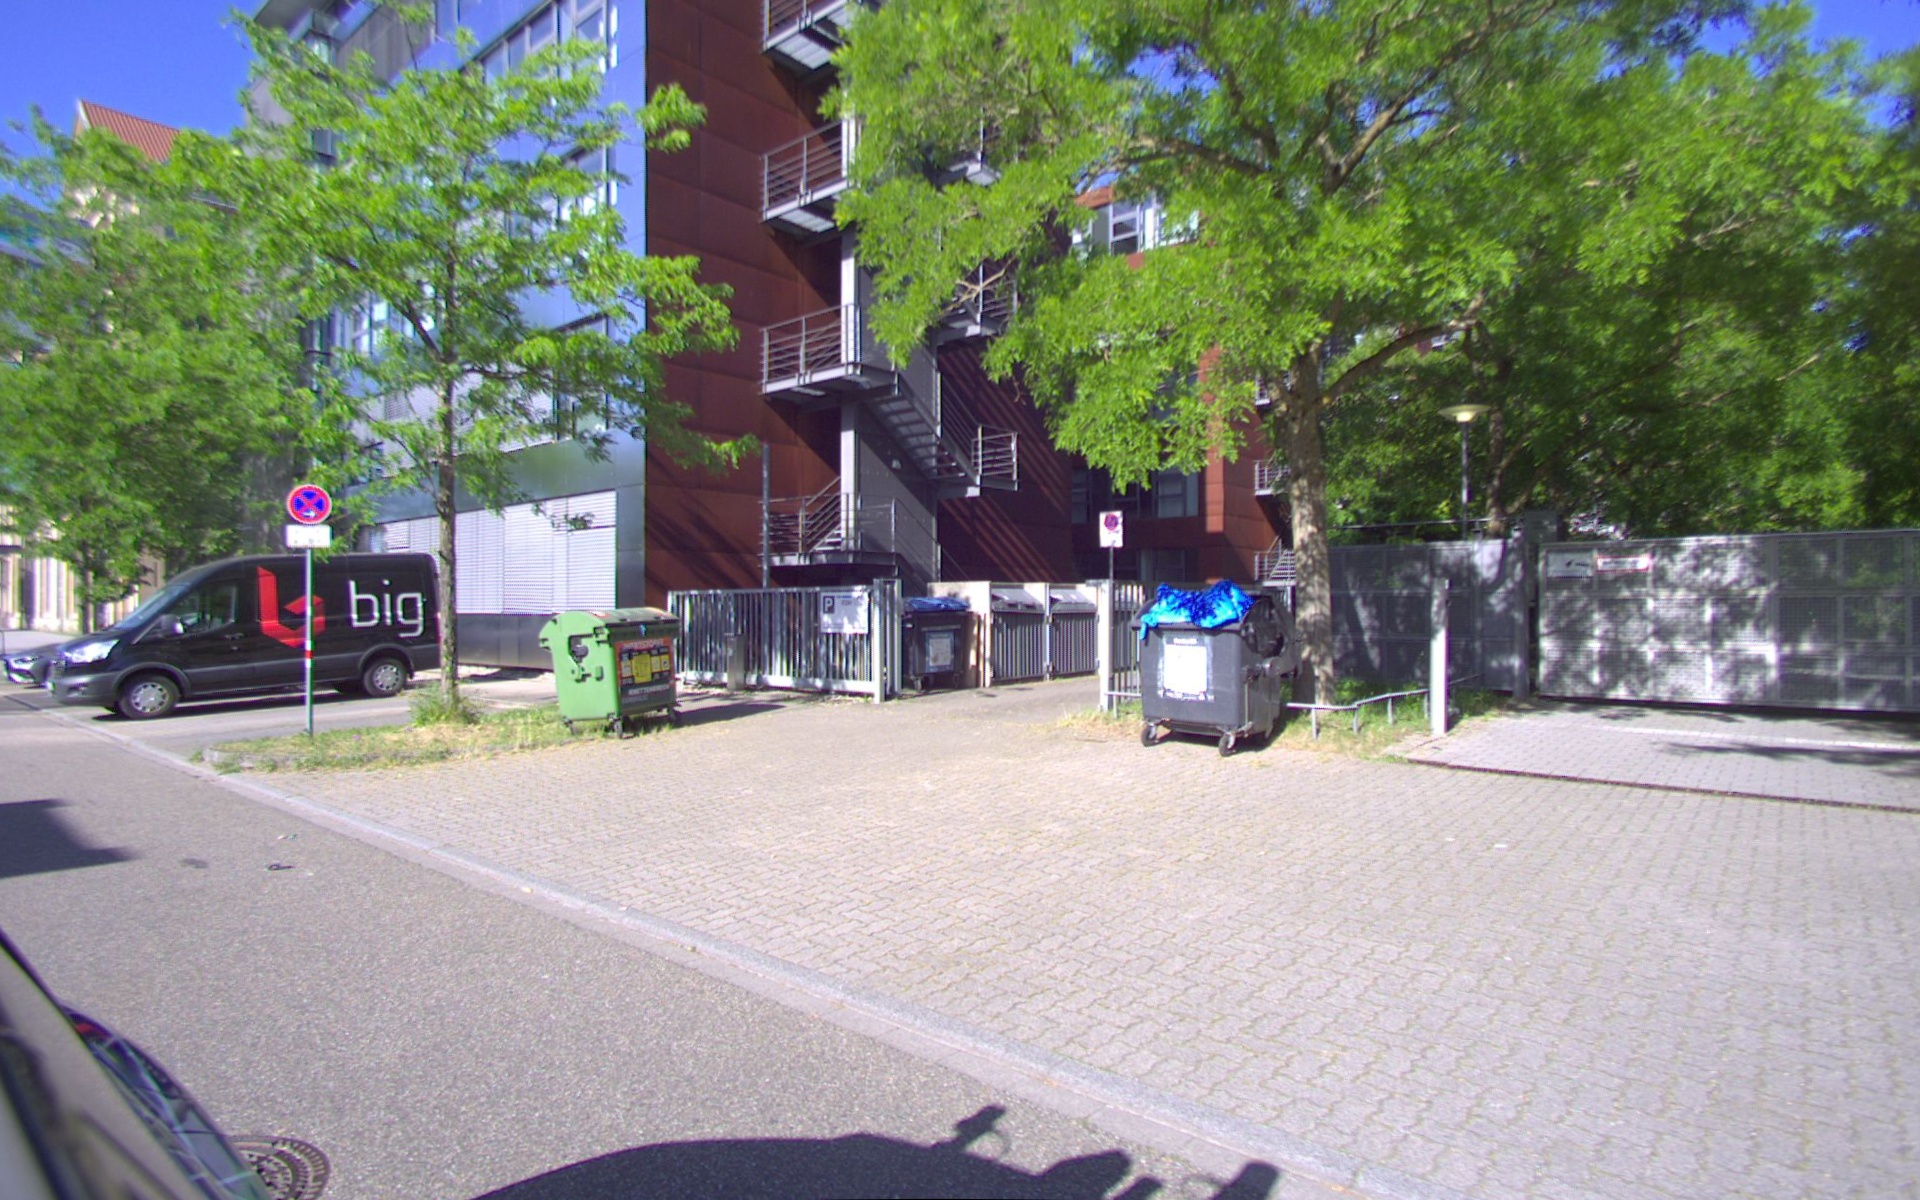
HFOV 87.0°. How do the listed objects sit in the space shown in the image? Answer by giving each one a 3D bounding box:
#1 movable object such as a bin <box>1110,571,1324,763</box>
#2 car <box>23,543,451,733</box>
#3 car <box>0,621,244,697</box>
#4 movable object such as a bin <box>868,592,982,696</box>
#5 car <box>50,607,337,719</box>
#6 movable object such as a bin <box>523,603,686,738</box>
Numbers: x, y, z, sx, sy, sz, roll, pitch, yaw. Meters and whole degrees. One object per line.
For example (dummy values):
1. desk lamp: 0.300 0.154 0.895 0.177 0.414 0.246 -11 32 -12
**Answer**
1. movable object such as a bin: 2.508 0.560 9.867 1.523 1.608 1.398 2 5 44
2. car: -11.772 0.465 16.878 2.230 2.642 5.400 0 1 40
3. car: -19.384 1.274 23.198 1.891 1.360 4.489 0 2 40
4. movable object such as a bin: -0.522 0.644 15.514 1.011 1.497 1.465 0 -1 41
5. car: -13.832 1.027 18.428 1.890 1.657 3.794 -1 2 39
6. movable object such as a bin: -4.039 0.759 11.561 1.220 1.424 1.287 -1 -1 23
